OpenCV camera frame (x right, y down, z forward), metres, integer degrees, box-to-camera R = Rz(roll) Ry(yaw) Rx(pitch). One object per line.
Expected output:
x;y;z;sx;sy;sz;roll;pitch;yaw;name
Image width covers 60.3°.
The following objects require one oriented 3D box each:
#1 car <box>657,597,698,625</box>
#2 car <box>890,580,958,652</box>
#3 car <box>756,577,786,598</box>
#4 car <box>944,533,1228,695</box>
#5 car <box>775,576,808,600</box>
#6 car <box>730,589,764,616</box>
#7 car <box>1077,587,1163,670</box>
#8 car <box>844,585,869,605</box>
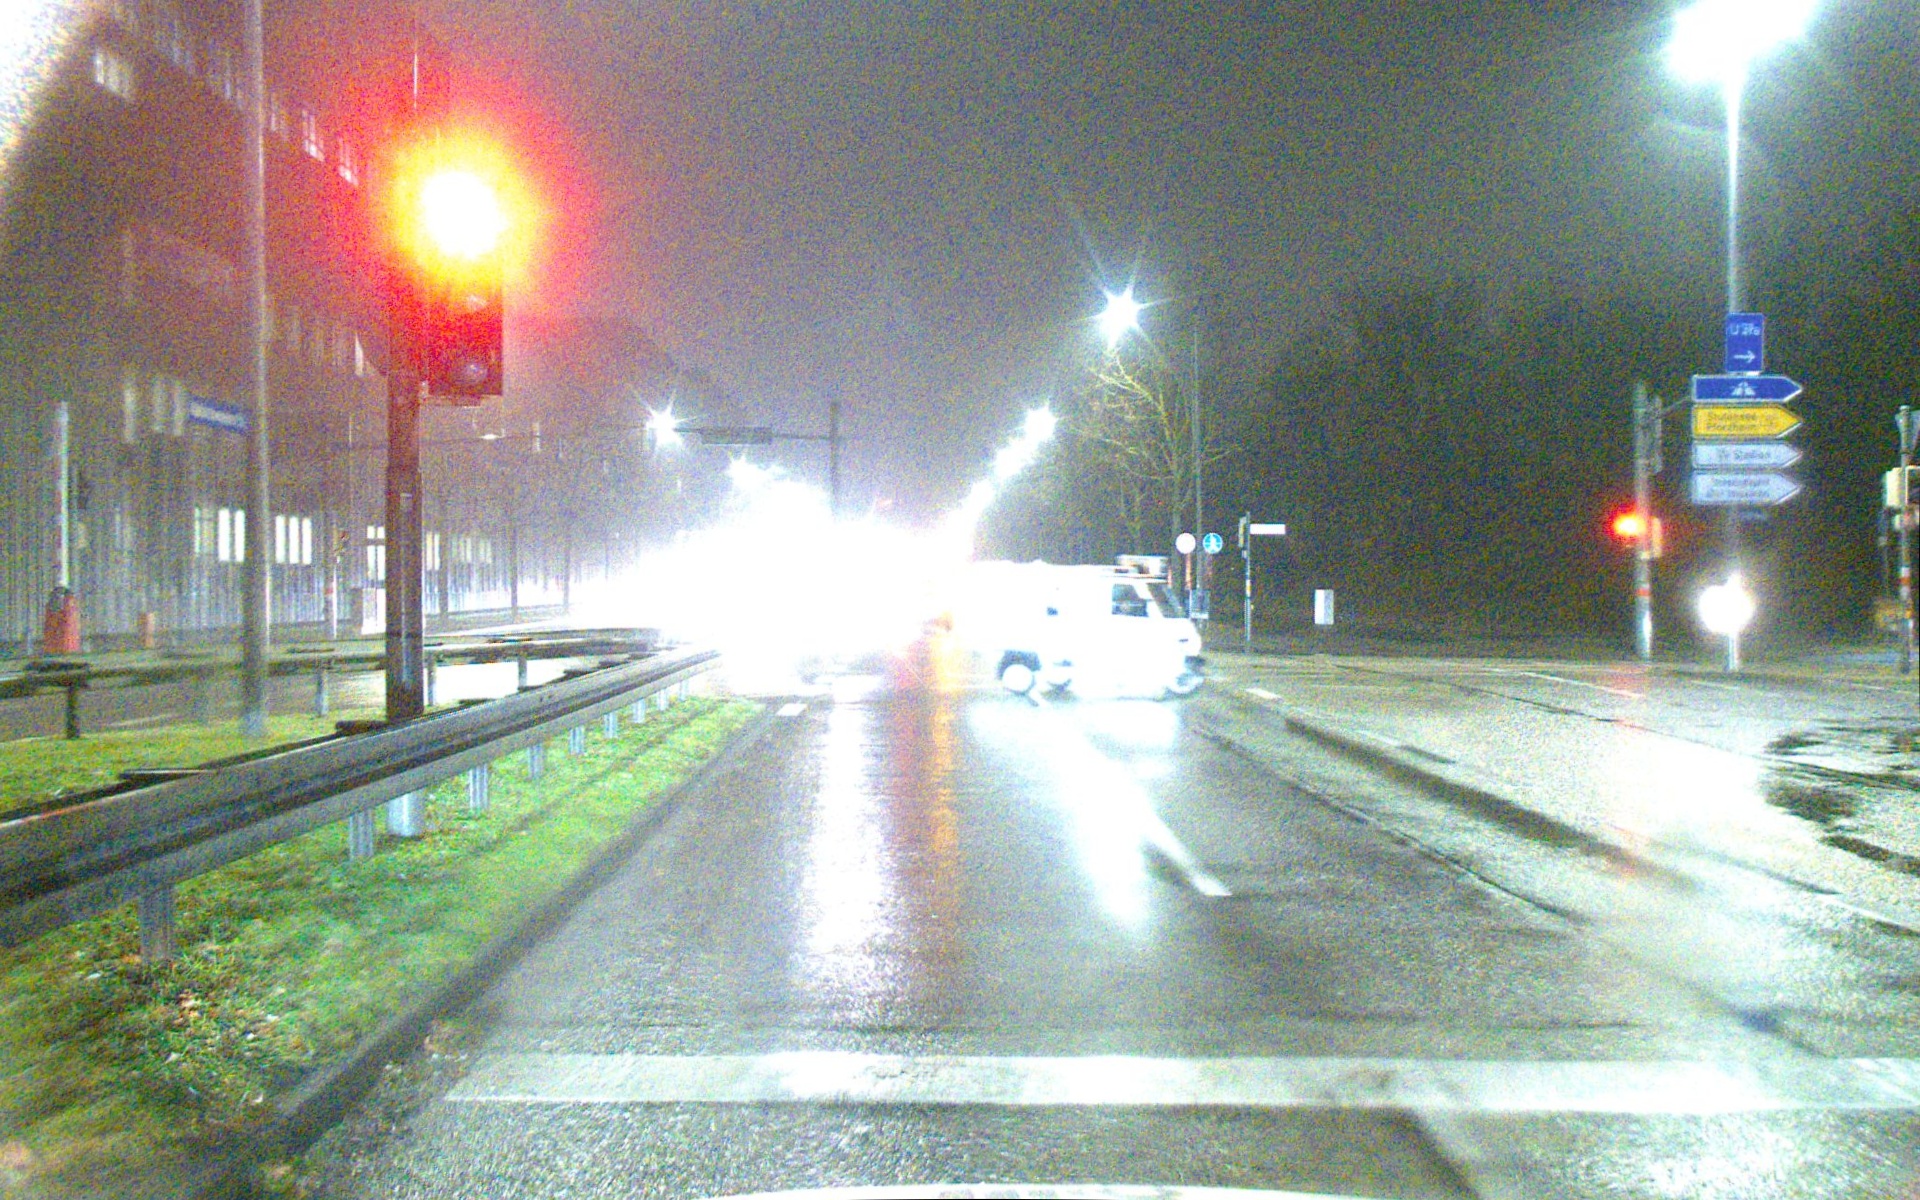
-16.456;0.648;96.440;1.764;1.591;3.999;0;0;-1;car
-1.055;0.474;49.769;1.953;2.049;3.999;0;0;-1;car
-14.596;-0.958;127.987;1.847;1.579;4.432;0;0;-1;car
1.717;0.180;22.487;3.485;2.049;1.703;0;-1;25;car
-11.257;-0.795;110.811;1.847;1.579;4.432;0;0;-1;car
-14.222;0.178;110.581;1.714;1.738;4.498;-1;0;-1;car
4.486;0.789;46.956;2.162;2.253;3.643;0;-1;1;car
-8.429;-0.357;134.955;1.847;1.579;4.432;0;0;-1;car
